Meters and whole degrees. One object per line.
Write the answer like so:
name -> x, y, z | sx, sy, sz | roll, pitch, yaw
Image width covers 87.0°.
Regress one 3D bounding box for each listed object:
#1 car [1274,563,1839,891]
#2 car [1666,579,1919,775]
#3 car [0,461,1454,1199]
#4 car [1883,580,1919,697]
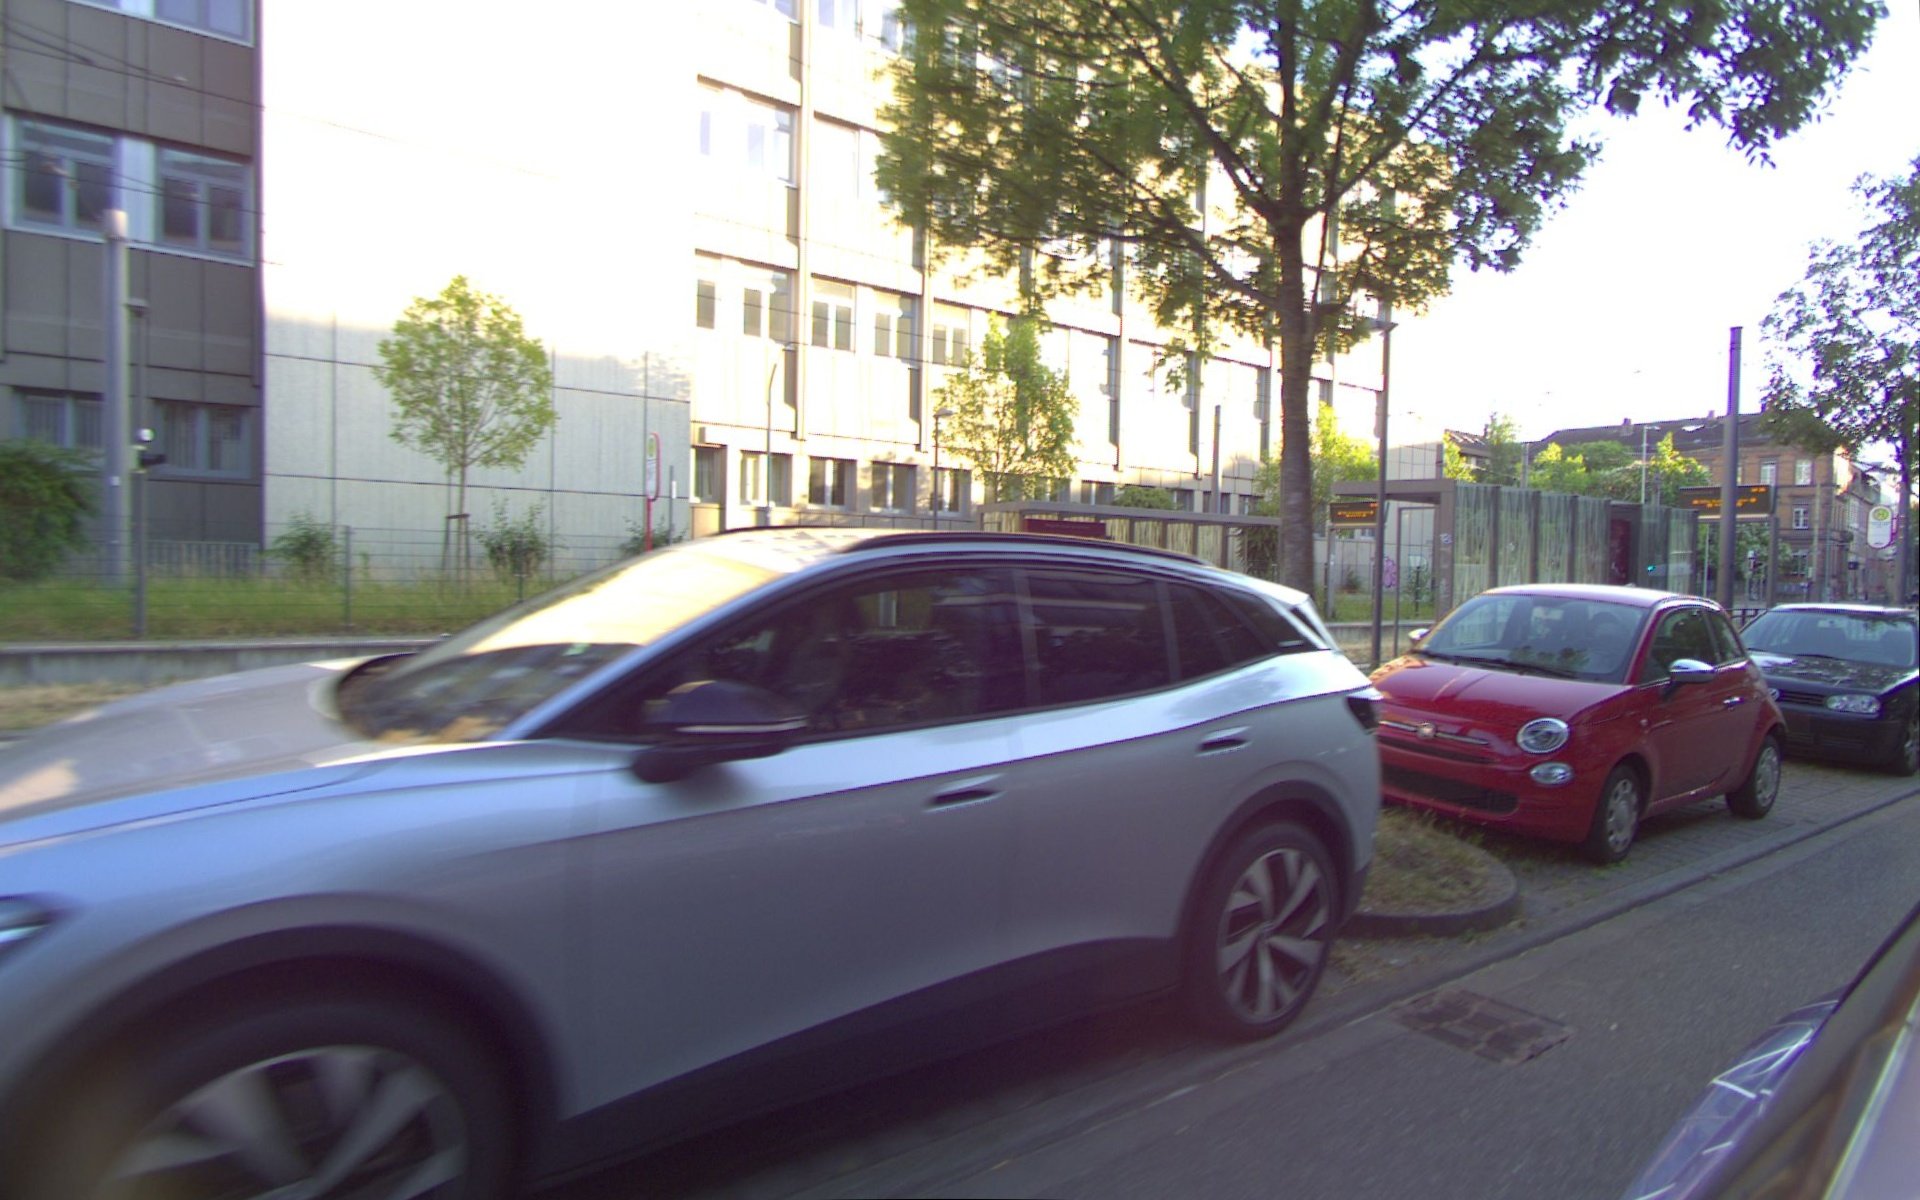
car -> 4.098, 0.571, 6.732 | 4.053, 1.511, 1.714 | 0, 4, -36
car -> 8.688, 0.586, 9.872 | 3.925, 1.469, 1.714 | 0, 4, -36
car -> -0.510, 0.521, 3.217 | 4.393, 1.599, 1.714 | 0, 4, -34
car -> 14.931, 0.574, 14.178 | 4.688, 1.513, 1.804 | 0, 5, -34
